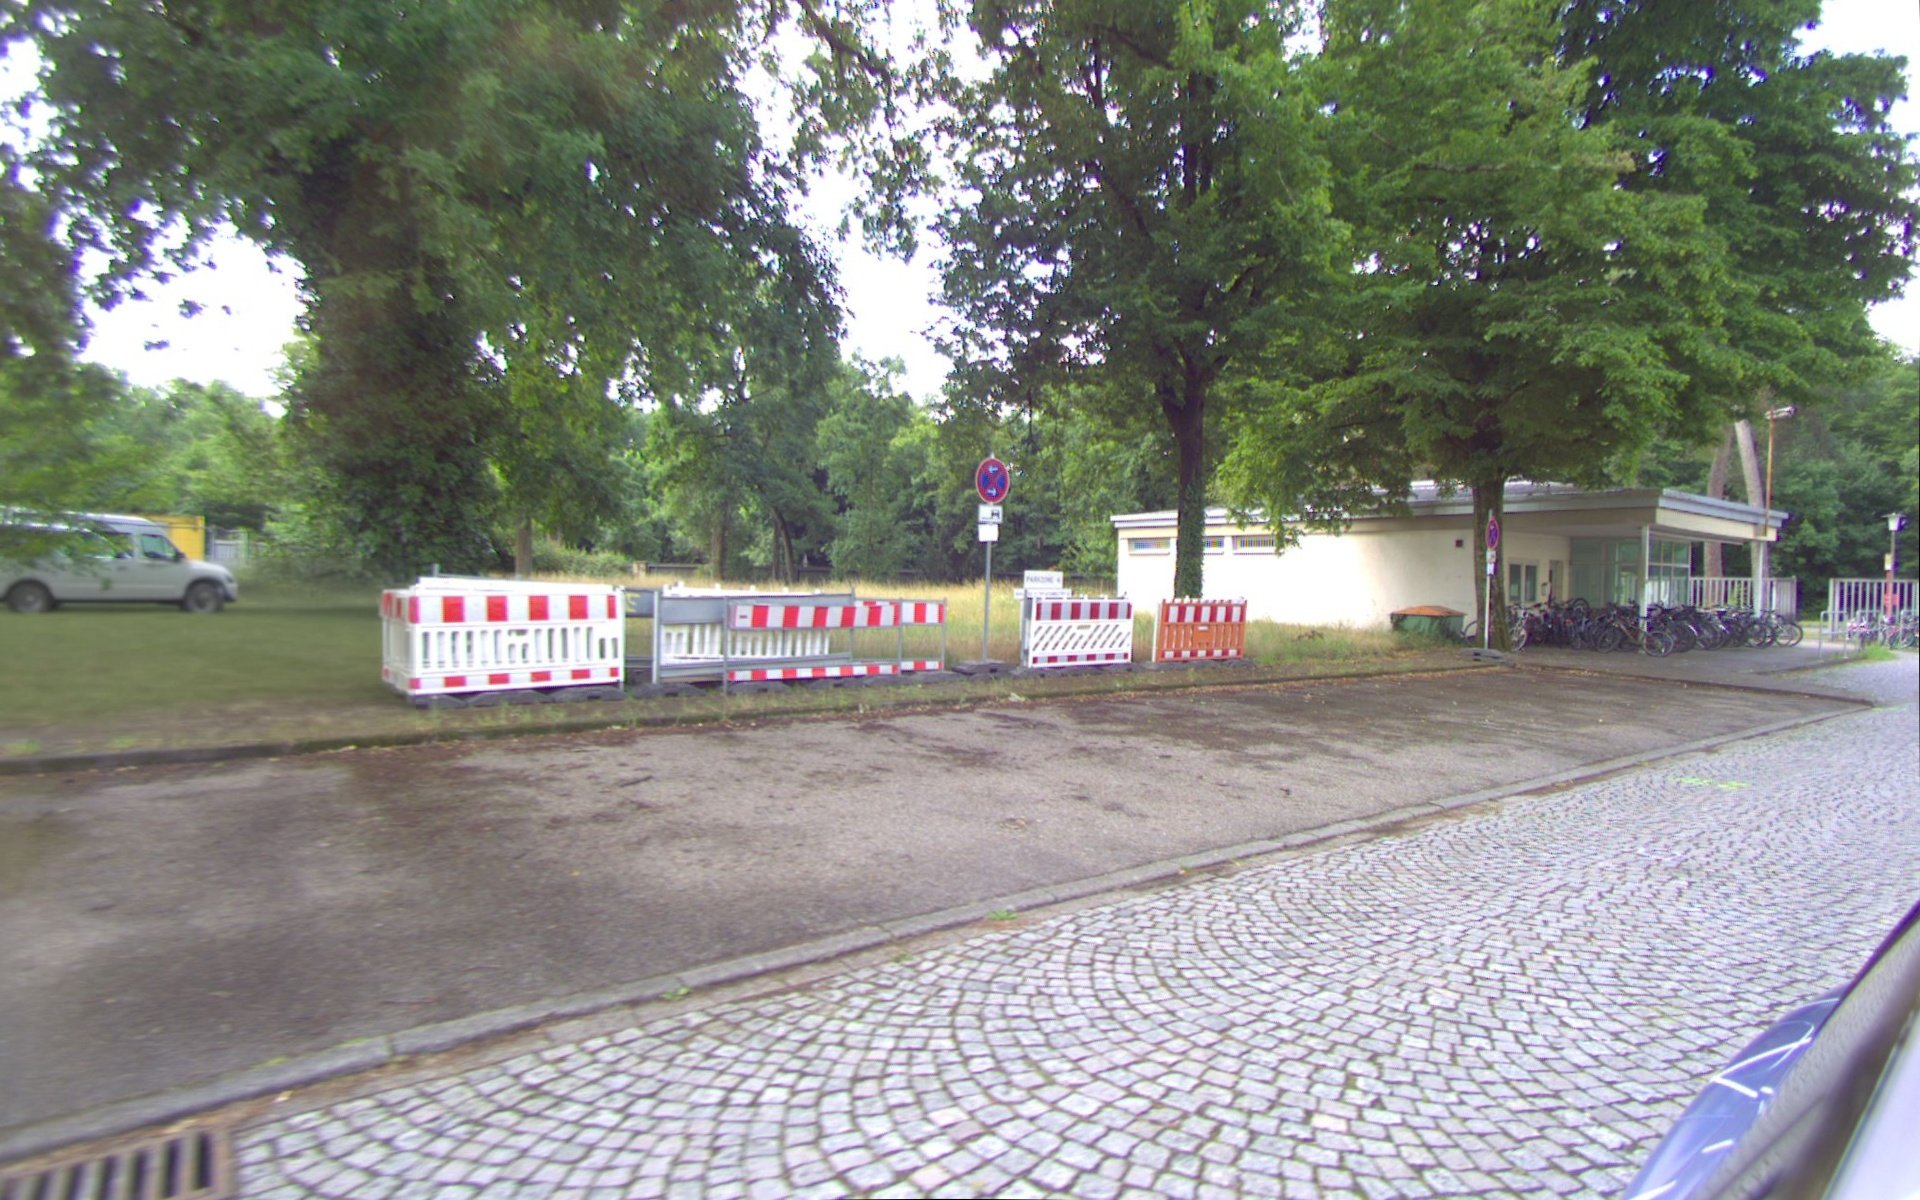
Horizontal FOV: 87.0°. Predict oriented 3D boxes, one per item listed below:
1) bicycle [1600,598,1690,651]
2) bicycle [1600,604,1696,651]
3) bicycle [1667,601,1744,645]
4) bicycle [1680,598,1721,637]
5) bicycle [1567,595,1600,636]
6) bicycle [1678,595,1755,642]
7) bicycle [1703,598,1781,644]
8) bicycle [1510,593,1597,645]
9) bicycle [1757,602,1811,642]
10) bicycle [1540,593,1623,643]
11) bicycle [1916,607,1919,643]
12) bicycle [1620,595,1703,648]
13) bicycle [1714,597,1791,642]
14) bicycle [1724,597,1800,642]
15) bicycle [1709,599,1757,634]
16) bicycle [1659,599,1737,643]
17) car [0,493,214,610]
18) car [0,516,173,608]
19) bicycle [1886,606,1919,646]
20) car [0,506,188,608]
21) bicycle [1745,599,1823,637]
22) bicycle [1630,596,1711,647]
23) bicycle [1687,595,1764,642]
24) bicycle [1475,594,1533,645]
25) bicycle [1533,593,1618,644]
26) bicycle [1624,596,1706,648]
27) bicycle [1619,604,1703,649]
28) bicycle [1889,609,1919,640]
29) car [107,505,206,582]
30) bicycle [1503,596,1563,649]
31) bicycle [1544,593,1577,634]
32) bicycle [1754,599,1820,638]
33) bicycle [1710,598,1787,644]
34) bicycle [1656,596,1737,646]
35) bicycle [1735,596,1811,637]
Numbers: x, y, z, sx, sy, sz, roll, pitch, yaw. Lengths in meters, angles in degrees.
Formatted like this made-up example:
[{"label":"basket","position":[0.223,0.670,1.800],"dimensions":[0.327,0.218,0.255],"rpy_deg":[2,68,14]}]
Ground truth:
[{"label":"bicycle","position":[15.996,0.556,23.654],"dimensions":[1.674,1.122,0.333],"rpy_deg":[4,3,39]},{"label":"bicycle","position":[16.540,0.644,24.373],"dimensions":[1.726,0.988,0.753],"rpy_deg":[3,2,23]},{"label":"bicycle","position":[20.023,0.595,27.209],"dimensions":[0.320,1.063,1.593],"rpy_deg":[0,3,-45]},{"label":"bicycle","position":[21.643,0.499,29.553],"dimensions":[1.799,1.089,0.491],"rpy_deg":[0,3,-39]},{"label":"bicycle","position":[17.197,0.411,27.898],"dimensions":[0.478,1.089,1.656],"rpy_deg":[4,3,40]},{"label":"bicycle","position":[20.409,0.492,27.332],"dimensions":[0.320,1.155,1.593],"rpy_deg":[0,3,-45]},{"label":"bicycle","position":[21.491,0.568,27.841],"dimensions":[0.320,1.155,1.614],"rpy_deg":[0,3,-45]},{"label":"bicycle","position":[15.026,0.471,25.655],"dimensions":[0.598,1.179,1.744],"rpy_deg":[0,3,-41]},{"label":"bicycle","position":[23.379,0.619,28.719],"dimensions":[1.144,1.076,0.284],"rpy_deg":[1,1,32]},{"label":"bicycle","position":[16.497,0.461,26.880],"dimensions":[0.598,1.179,1.744],"rpy_deg":[0,3,-41]},{"label":"bicycle","position":[29.188,0.747,30.350],"dimensions":[1.700,1.070,0.474],"rpy_deg":[0,1,-38]},{"label":"bicycle","position":[17.556,0.522,25.343],"dimensions":[1.628,1.204,0.467],"rpy_deg":[4,3,39]},{"label":"bicycle","position":[22.180,0.537,28.335],"dimensions":[0.350,1.155,1.614],"rpy_deg":[0,3,-45]},{"label":"bicycle","position":[22.726,0.534,28.684],"dimensions":[0.350,1.155,1.614],"rpy_deg":[0,3,-45]},{"label":"bicycle","position":[23.632,0.498,30.927],"dimensions":[1.328,1.023,0.406],"rpy_deg":[1,1,-14]},{"label":"bicycle","position":[19.614,0.549,26.910],"dimensions":[1.627,1.063,0.330],"rpy_deg":[4,3,38]},{"label":"car","position":[-21.792,-1.085,24.126],"dimensions":[1.977,2.610,6.374],"rpy_deg":[0,0,22]},{"label":"car","position":[-19.861,-0.776,21.323],"dimensions":[1.979,1.848,4.833],"rpy_deg":[0,0,25]},{"label":"bicycle","position":[27.184,0.724,28.981],"dimensions":[1.536,1.075,0.692],"rpy_deg":[0,1,-38]},{"label":"car","position":[-17.993,-0.780,19.343],"dimensions":[1.979,1.848,4.833],"rpy_deg":[0,0,25]},{"label":"bicycle","position":[24.017,0.517,29.521],"dimensions":[1.724,1.059,0.452],"rpy_deg":[1,1,14]},{"label":"bicycle","position":[18.393,0.532,26.216],"dimensions":[1.628,1.204,0.414],"rpy_deg":[4,3,40]},{"label":"bicycle","position":[20.948,0.489,27.712],"dimensions":[0.320,1.155,1.614],"rpy_deg":[0,3,-45]},{"label":"bicycle","position":[12.774,0.455,23.743],"dimensions":[1.605,1.130,0.598],"rpy_deg":[0,3,-39]},{"label":"bicycle","position":[15.900,0.467,26.175],"dimensions":[0.598,1.179,1.744],"rpy_deg":[0,3,-41]},{"label":"bicycle","position":[17.953,0.535,25.803],"dimensions":[1.628,1.204,0.414],"rpy_deg":[4,3,40]},{"label":"bicycle","position":[17.173,0.631,24.827],"dimensions":[1.616,0.988,0.320],"rpy_deg":[3,2,23]},{"label":"bicycle","position":[30.780,0.805,32.093],"dimensions":[0.495,0.951,1.865],"rpy_deg":[0,3,-42]},{"label":"car","position":[-24.983,-1.637,31.647],"dimensions":[2.171,2.122,6.160],"rpy_deg":[0,0,-36]},{"label":"bicycle","position":[13.177,0.504,23.260],"dimensions":[1.605,1.130,0.598],"rpy_deg":[0,3,-39]},{"label":"bicycle","position":[16.800,0.373,28.310],"dimensions":[0.478,1.089,1.656],"rpy_deg":[4,3,40]},{"label":"bicycle","position":[23.690,0.527,29.011],"dimensions":[1.392,1.059,0.336],"rpy_deg":[1,1,26]},{"label":"bicycle","position":[21.821,0.566,28.031],"dimensions":[0.320,1.155,1.614],"rpy_deg":[0,3,-45]},{"label":"bicycle","position":[19.223,0.530,26.430],"dimensions":[1.628,1.204,0.492],"rpy_deg":[4,3,40]},{"label":"bicycle","position":[24.158,0.485,30.089],"dimensions":[1.711,1.146,0.473],"rpy_deg":[1,1,9]}]
